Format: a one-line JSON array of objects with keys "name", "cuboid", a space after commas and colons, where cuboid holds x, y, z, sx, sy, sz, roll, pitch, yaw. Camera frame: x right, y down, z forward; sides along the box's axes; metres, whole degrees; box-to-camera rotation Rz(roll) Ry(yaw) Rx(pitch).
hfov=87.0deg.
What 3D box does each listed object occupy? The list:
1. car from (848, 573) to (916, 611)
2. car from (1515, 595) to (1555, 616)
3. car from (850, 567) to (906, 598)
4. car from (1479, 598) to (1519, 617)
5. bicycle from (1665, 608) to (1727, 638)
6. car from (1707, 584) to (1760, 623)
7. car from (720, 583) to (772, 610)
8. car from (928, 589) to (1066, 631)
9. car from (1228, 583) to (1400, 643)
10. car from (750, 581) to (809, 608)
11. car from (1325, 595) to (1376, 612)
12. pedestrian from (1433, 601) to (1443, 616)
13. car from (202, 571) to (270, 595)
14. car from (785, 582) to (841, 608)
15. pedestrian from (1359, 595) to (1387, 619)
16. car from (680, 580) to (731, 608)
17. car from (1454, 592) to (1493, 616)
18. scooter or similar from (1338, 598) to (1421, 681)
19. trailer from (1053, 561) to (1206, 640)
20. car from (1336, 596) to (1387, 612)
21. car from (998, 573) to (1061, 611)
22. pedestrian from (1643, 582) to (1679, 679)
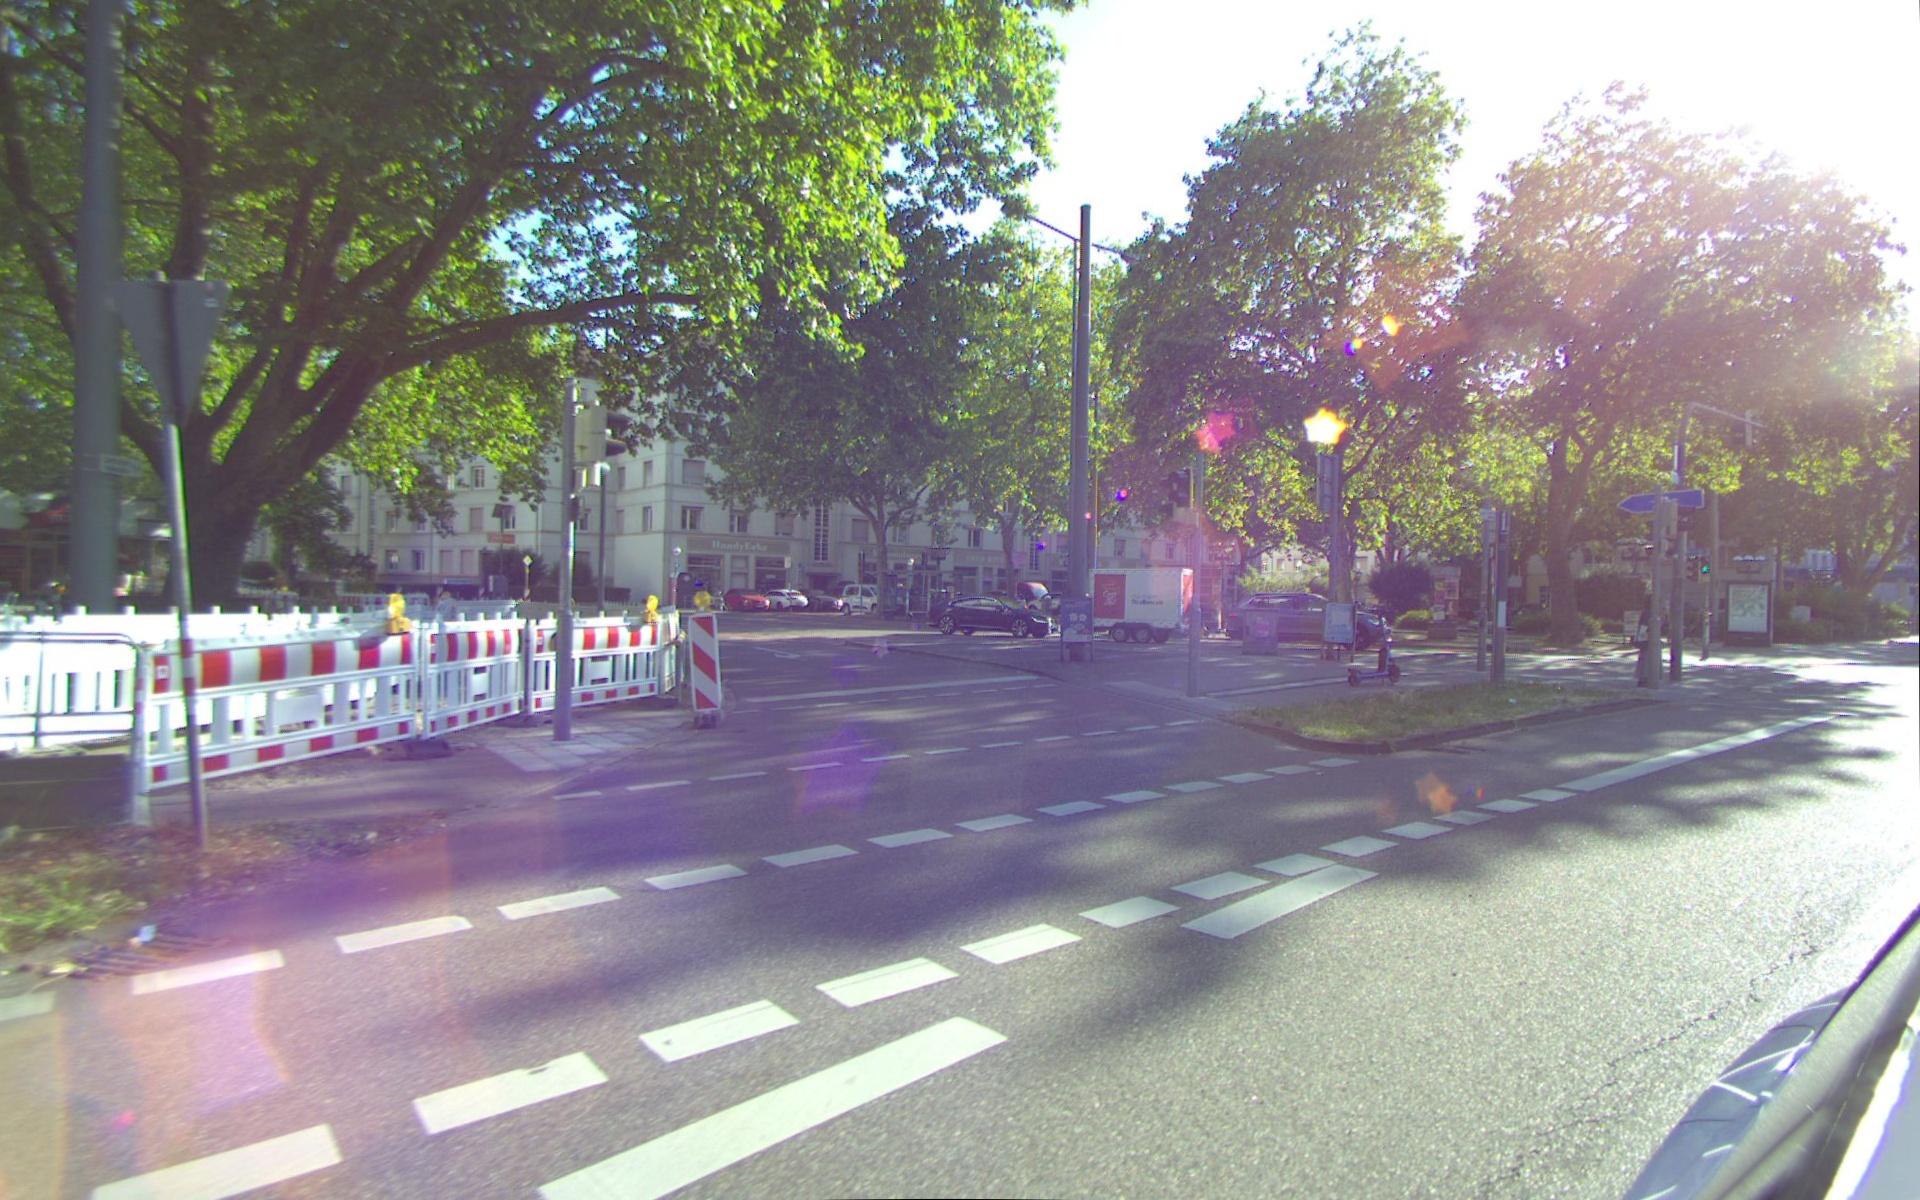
[{"name": "car", "cuboid": [-4.461, -0.473, 57.363, 1.730, 1.893, 4.352, 1, 3, -38]}, {"name": "car", "cuboid": [48.215, 0.471, 84.872, 4.107, 1.681, 1.708, 2, -1, -42]}, {"name": "car", "cuboid": [-5.705, -1.227, 70.318, 1.730, 1.893, 4.352, 1, 3, -38]}, {"name": "car", "cuboid": [46.168, 0.657, 86.625, 4.107, 1.521, 1.708, 2, -1, -42]}, {"name": "bicycle", "cuboid": [27.605, 0.863, 37.987, 1.805, 1.067, 0.530, 0, -1, 25]}, {"name": "car", "cuboid": [56.685, 0.238, 74.105, 4.629, 2.777, 1.998, 0, -1, -39]}, {"name": "car", "cuboid": [-13.639, -0.225, 64.384, 1.788, 1.498, 4.357, 1, 3, -33]}, {"name": "car", "cuboid": [1.266, 0.360, 34.886, 4.399, 1.378, 1.915, -1, -1, 30]}, {"name": "car", "cuboid": [10.393, 0.388, 29.808, 4.540, 1.661, 1.915, -1, -1, 30]}, {"name": "car", "cuboid": [-11.811, -0.385, 66.058, 1.702, 1.498, 4.344, 0, 3, -43]}, {"name": "car", "cuboid": [34.913, 0.336, 90.579, 1.746, 1.426, 3.996, 0, -1, -38]}, {"name": "pedestrian", "cuboid": [40.115, 0.682, 84.927, 0.627, 1.242, 0.533, -1, -1, 34]}, {"name": "car", "cuboid": [-46.843, -1.075, 65.475, 4.399, 1.378, 1.915, -1, -1, 30]}, {"name": "car", "cuboid": [-9.748, -0.366, 66.853, 1.730, 1.498, 4.352, 1, 3, -38]}, {"name": "pedestrian", "cuboid": [21.453, 0.367, 52.556, 0.776, 1.256, 1.140, 1, -1, -39]}, {"name": "car", "cuboid": [-15.841, -0.365, 62.840, 1.788, 1.498, 4.357, 1, 3, -33]}, {"name": "car", "cuboid": [45.029, 0.345, 88.735, 4.107, 2.053, 1.708, 2, -1, -42]}, {"name": "scooter or similar", "cuboid": [6.761, 0.615, 16.302, 1.264, 1.273, 0.563, 0, 2, -31]}, {"name": "trailer", "cuboid": [5.445, -0.021, 32.616, 4.477, 2.403, 1.894, 1, 0, 30]}, {"name": "car", "cuboid": [36.580, 0.348, 92.173, 1.746, 1.426, 3.996, 0, -1, -38]}, {"name": "car", "cuboid": [5.472, -0.664, 80.509, 2.128, 2.699, 5.067, 1, 3, -38]}, {"name": "pedestrian", "cuboid": [12.245, 0.527, 17.672, 0.427, 1.660, 0.603, 0, -1, 43]}]
